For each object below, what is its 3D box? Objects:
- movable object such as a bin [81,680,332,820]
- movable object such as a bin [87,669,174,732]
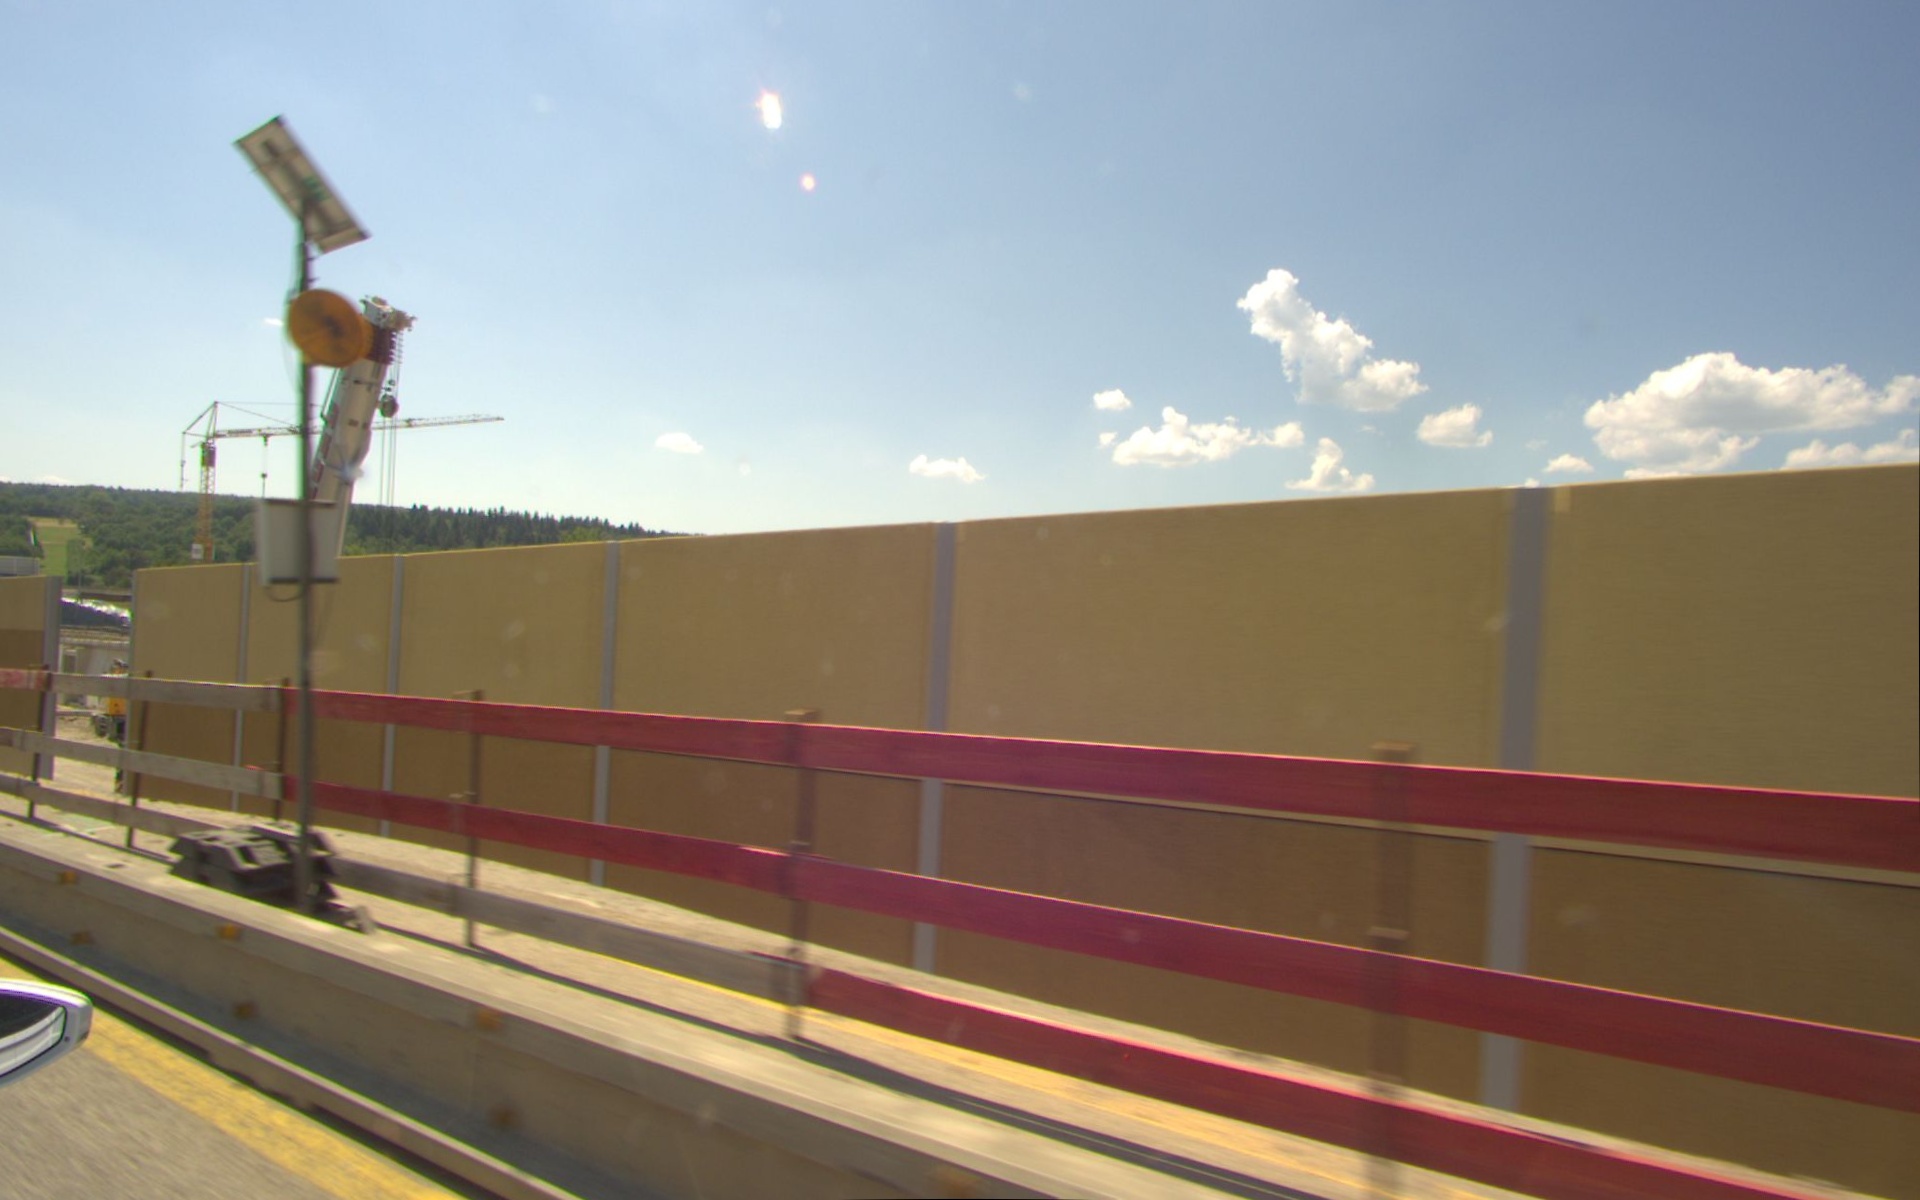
[{"bbox_3d":[-23.444,4.381,30.990,9.019,3.530,2.963,-1,-3,31],"label":"movable object such as a bin"},{"bbox_3d":[-44.143,5.292,53.264,4.755,3.061,2.276,-1,-3,34],"label":"movable object such as a bin"}]
